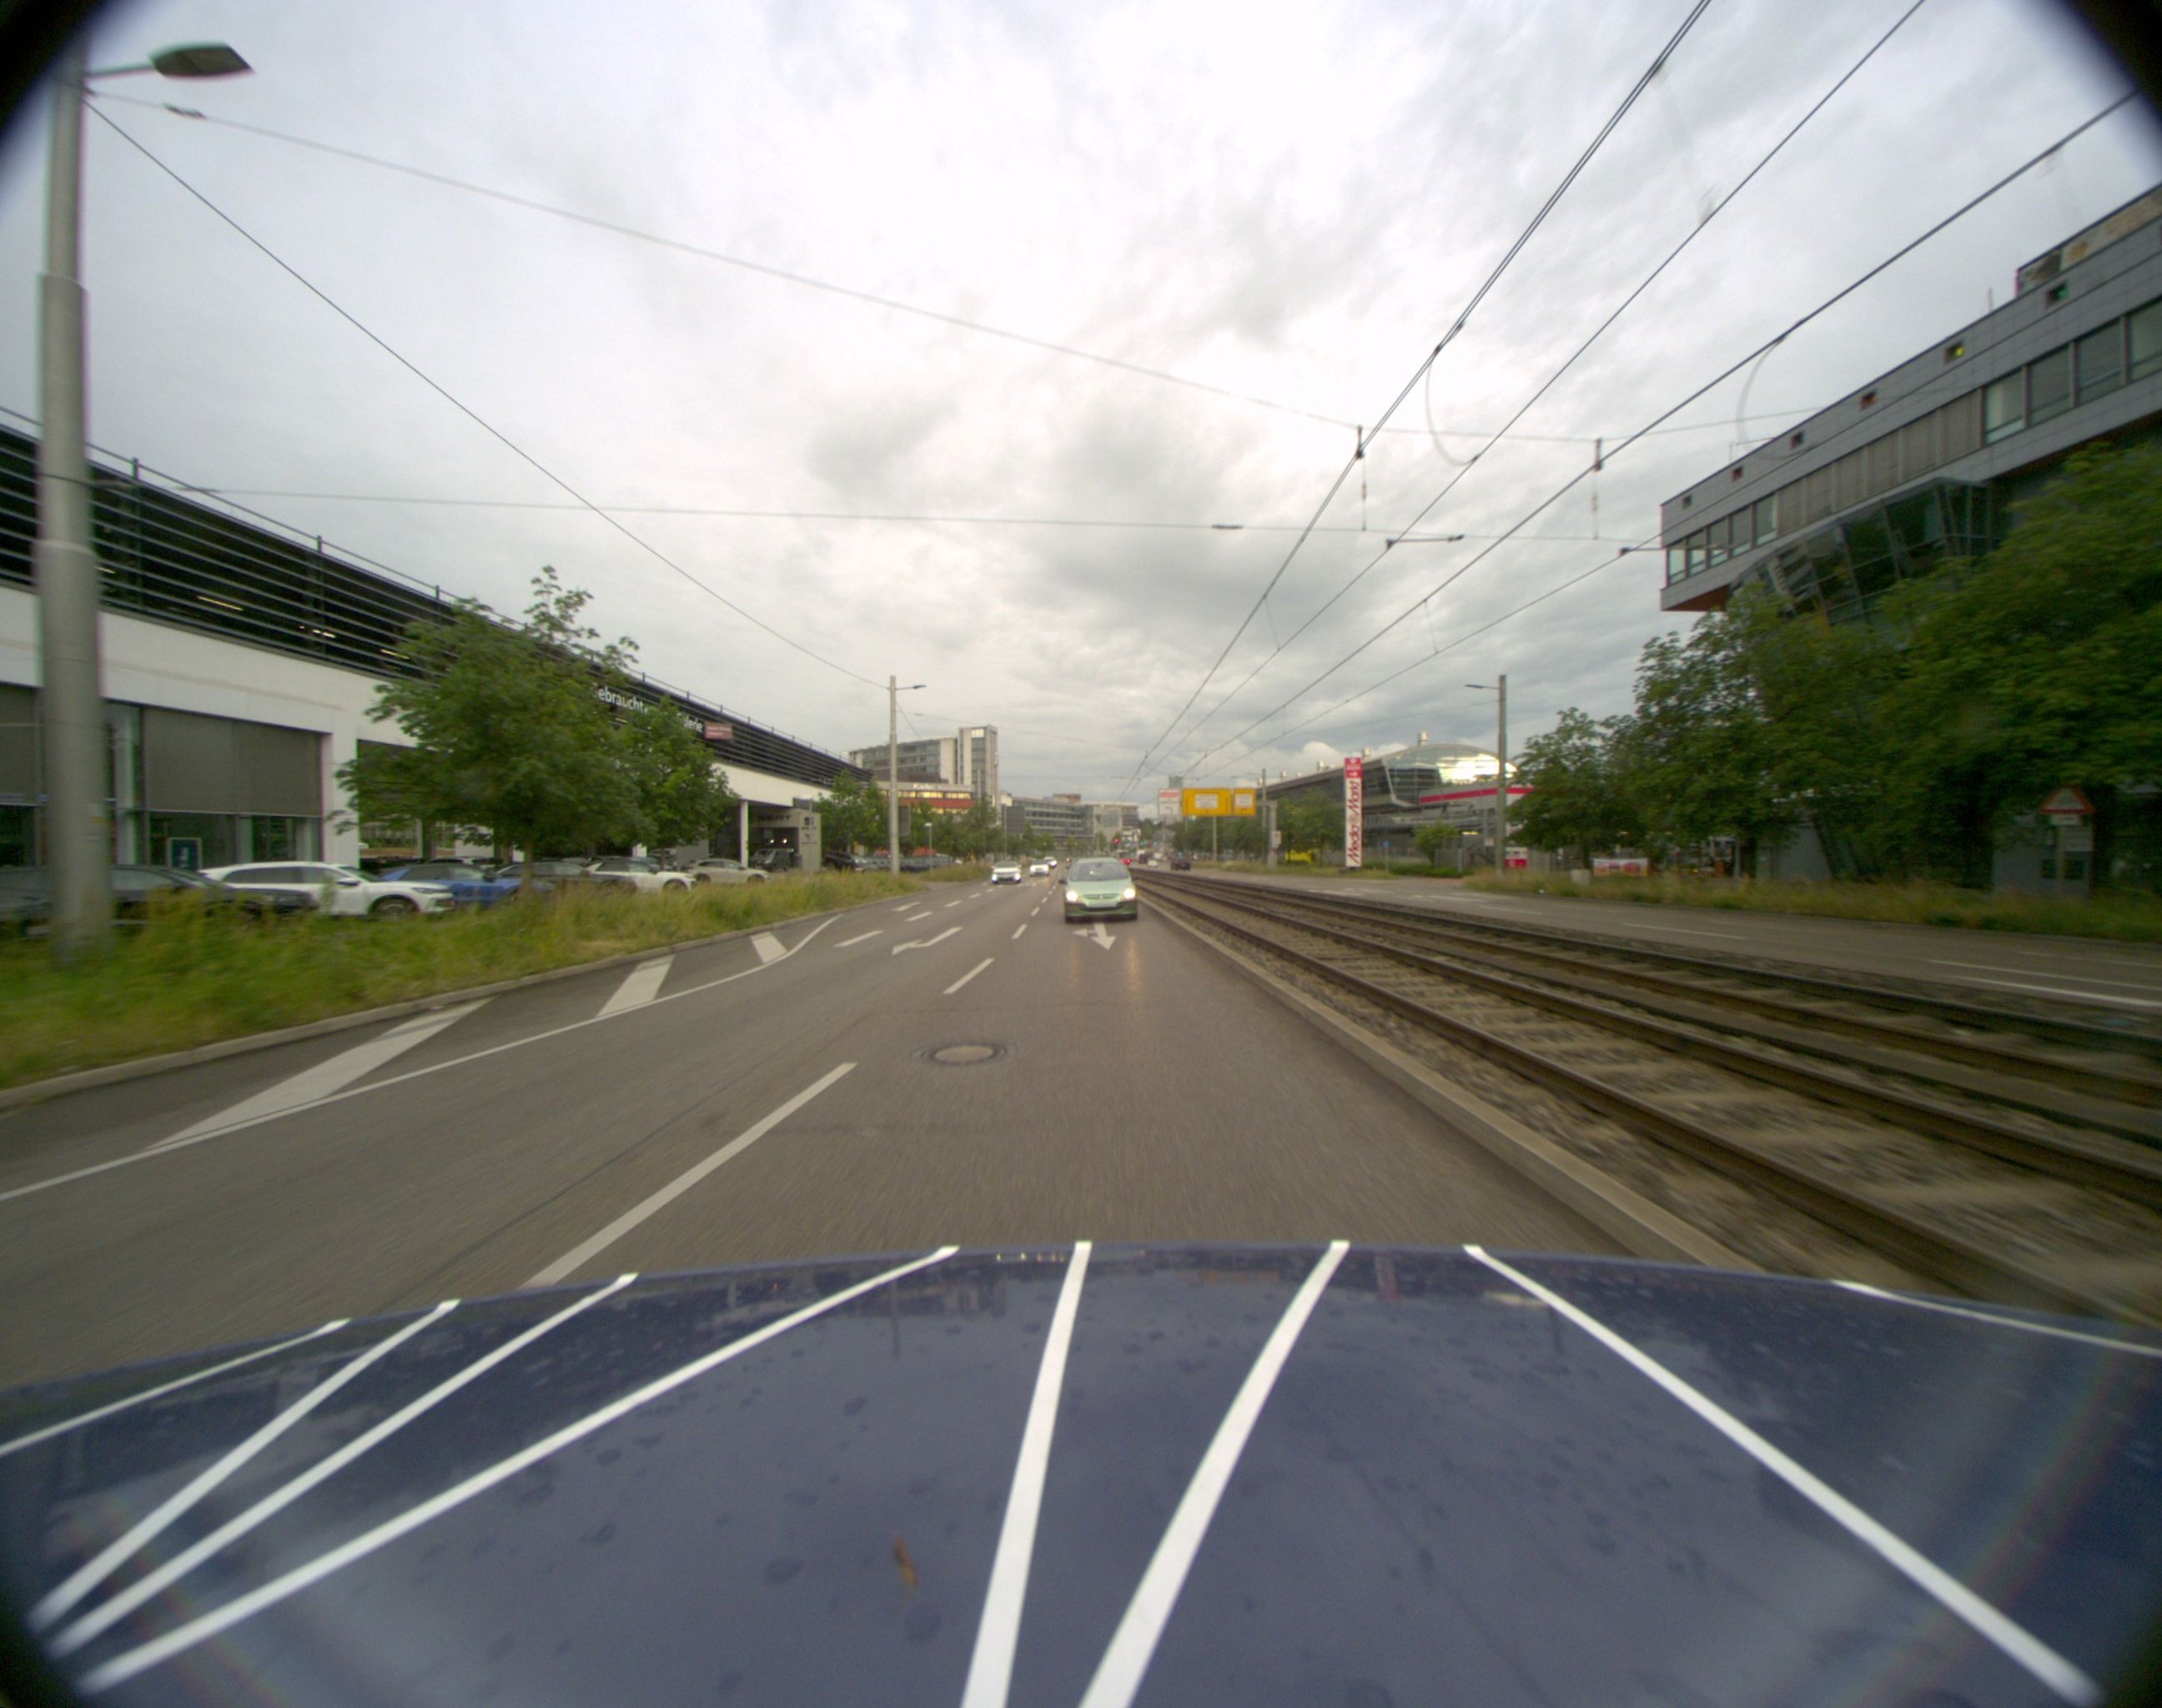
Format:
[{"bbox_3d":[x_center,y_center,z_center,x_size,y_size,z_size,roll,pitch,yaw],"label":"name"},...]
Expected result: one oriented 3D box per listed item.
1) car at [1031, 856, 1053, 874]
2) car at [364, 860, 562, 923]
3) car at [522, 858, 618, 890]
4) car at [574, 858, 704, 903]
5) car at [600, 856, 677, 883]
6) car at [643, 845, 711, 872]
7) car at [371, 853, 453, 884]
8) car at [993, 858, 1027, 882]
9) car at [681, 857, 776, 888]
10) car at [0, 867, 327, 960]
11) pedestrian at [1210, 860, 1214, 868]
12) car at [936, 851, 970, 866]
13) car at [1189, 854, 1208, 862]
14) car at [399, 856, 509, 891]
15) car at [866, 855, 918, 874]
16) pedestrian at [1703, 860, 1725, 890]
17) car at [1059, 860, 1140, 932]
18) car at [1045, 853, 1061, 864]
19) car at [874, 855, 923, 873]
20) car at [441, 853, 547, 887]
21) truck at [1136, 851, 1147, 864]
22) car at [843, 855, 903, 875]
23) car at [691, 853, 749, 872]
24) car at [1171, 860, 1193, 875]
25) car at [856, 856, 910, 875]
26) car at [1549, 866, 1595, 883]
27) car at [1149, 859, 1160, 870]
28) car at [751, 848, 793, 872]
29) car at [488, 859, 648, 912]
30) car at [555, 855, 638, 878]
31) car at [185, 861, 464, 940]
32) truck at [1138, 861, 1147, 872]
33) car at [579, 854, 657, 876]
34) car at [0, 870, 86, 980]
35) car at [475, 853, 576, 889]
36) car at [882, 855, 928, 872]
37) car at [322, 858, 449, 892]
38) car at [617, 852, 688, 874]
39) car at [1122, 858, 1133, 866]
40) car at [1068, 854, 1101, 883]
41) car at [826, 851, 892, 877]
[{"bbox_3d":[-3.536,0.965,69.516,1.818,1.584,3.836,0,0,0],"label":"car"},{"bbox_3d":[-17.250,0.994,21.503,4.198,1.559,1.794,1,1,-35],"label":"car"},{"bbox_3d":[-25.810,0.965,38.607,1.784,1.459,4.693,1,1,-2],"label":"car"},{"bbox_3d":[-16.980,0.974,29.259,4.108,1.559,1.794,1,1,-37],"label":"car"},{"bbox_3d":[-26.257,0.896,45.304,1.899,1.459,4.695,1,1,-2],"label":"car"},{"bbox_3d":[-30.283,0.323,56.990,4.037,1.964,1.944,0,0,-2],"label":"car"},{"bbox_3d":[-45.822,0.942,52.194,1.999,2.002,4.097,0,1,-1],"label":"car"},{"bbox_3d":[-4.744,1.053,51.313,1.878,1.485,3.836,-1,0,0],"label":"car"},{"bbox_3d":[-17.877,0.910,38.590,4.107,1.457,1.743,1,1,-34],"label":"car"},{"bbox_3d":[-17.914,1.060,14.730,4.383,1.559,1.794,1,1,-32],"label":"car"},{"bbox_3d":[27.350,2.109,159.130,0.684,1.554,0.627,-3,1,-1],"label":"pedestrian"},{"bbox_3d":[-18.292,0.632,108.441,4.504,1.980,1.818,1,0,-19],"label":"car"},{"bbox_3d":[33.917,1.122,219.982,5.068,2.318,1.997,0,0,-18],"label":"car"},{"bbox_3d":[-29.934,0.907,36.361,3.826,1.578,1.638,0,0,-2],"label":"car"},{"bbox_3d":[-16.948,0.964,68.137,4.158,1.595,1.823,1,0,-26],"label":"car"},{"bbox_3d":[36.001,1.185,43.209,0.810,1.669,0.580,0,0,-11],"label":"pedestrian"},{"bbox_3d":[0.378,0.962,19.142,1.762,1.489,4.137,-3,0,-1],"label":"car"},{"bbox_3d":[-4.175,0.613,112.592,1.889,1.584,3.983,-1,0,5],"label":"car"},{"bbox_3d":[-17.079,0.950,71.138,4.158,1.560,1.823,1,0,-26],"label":"car"},{"bbox_3d":[-30.105,0.797,39.067,3.997,1.499,1.786,-3,0,1],"label":"car"},{"bbox_3d":[17.438,0.877,218.437,2.734,3.339,7.150,1,2,2],"label":"truck"},{"bbox_3d":[-17.110,0.921,62.530,4.342,1.603,1.865,1,0,-30],"label":"car"},{"bbox_3d":[-30.511,0.708,64.340,4.043,1.504,1.723,0,0,-3],"label":"car"},{"bbox_3d":[11.926,1.642,89.636,1.999,1.725,4.213,1,-2,0],"label":"car"},{"bbox_3d":[-17.020,0.968,65.295,4.159,1.553,1.865,1,0,-27],"label":"car"},{"bbox_3d":[43.971,1.842,68.043,4.114,1.275,1.660,-3,0,-30],"label":"car"},{"bbox_3d":[12.173,1.690,126.165,1.602,1.529,2.949,2,3,0],"label":"car"},{"bbox_3d":[-26.243,0.515,64.647,1.892,1.927,4.429,0,0,-2],"label":"car"},{"bbox_3d":[-16.978,0.976,25.248,4.199,1.559,1.794,1,1,-41],"label":"car"},{"bbox_3d":[-30.046,0.764,47.209,3.998,1.416,1.764,0,0,-2],"label":"car"},{"bbox_3d":[-17.630,1.022,18.054,4.362,1.617,1.852,1,1,-31],"label":"car"},{"bbox_3d":[14.909,2.949,184.308,2.243,2.549,7.016,0,0,4],"label":"truck"},{"bbox_3d":[-30.168,0.725,49.579,3.998,1.416,1.764,0,0,-2],"label":"car"},{"bbox_3d":[-18.432,1.048,10.926,4.634,1.559,1.847,1,1,-31],"label":"car"},{"bbox_3d":[-30.175,0.887,41.351,3.997,1.718,1.891,-3,0,1],"label":"car"},{"bbox_3d":[-17.155,0.950,74.023,4.157,1.560,1.906,1,0,-21],"label":"car"},{"bbox_3d":[-30.767,0.896,33.725,3.829,1.443,1.732,0,0,-10],"label":"car"},{"bbox_3d":[-30.447,0.644,54.093,3.998,1.528,1.904,0,0,-2],"label":"car"},{"bbox_3d":[8.879,1.508,146.550,1.807,1.420,4.235,0,0,-1],"label":"car"},{"bbox_3d":[0.224,0.831,44.683,1.762,1.535,3.714,-3,0,1],"label":"car"},{"bbox_3d":[-17.144,0.781,58.607,4.709,1.865,1.828,1,0,22],"label":"car"}]
